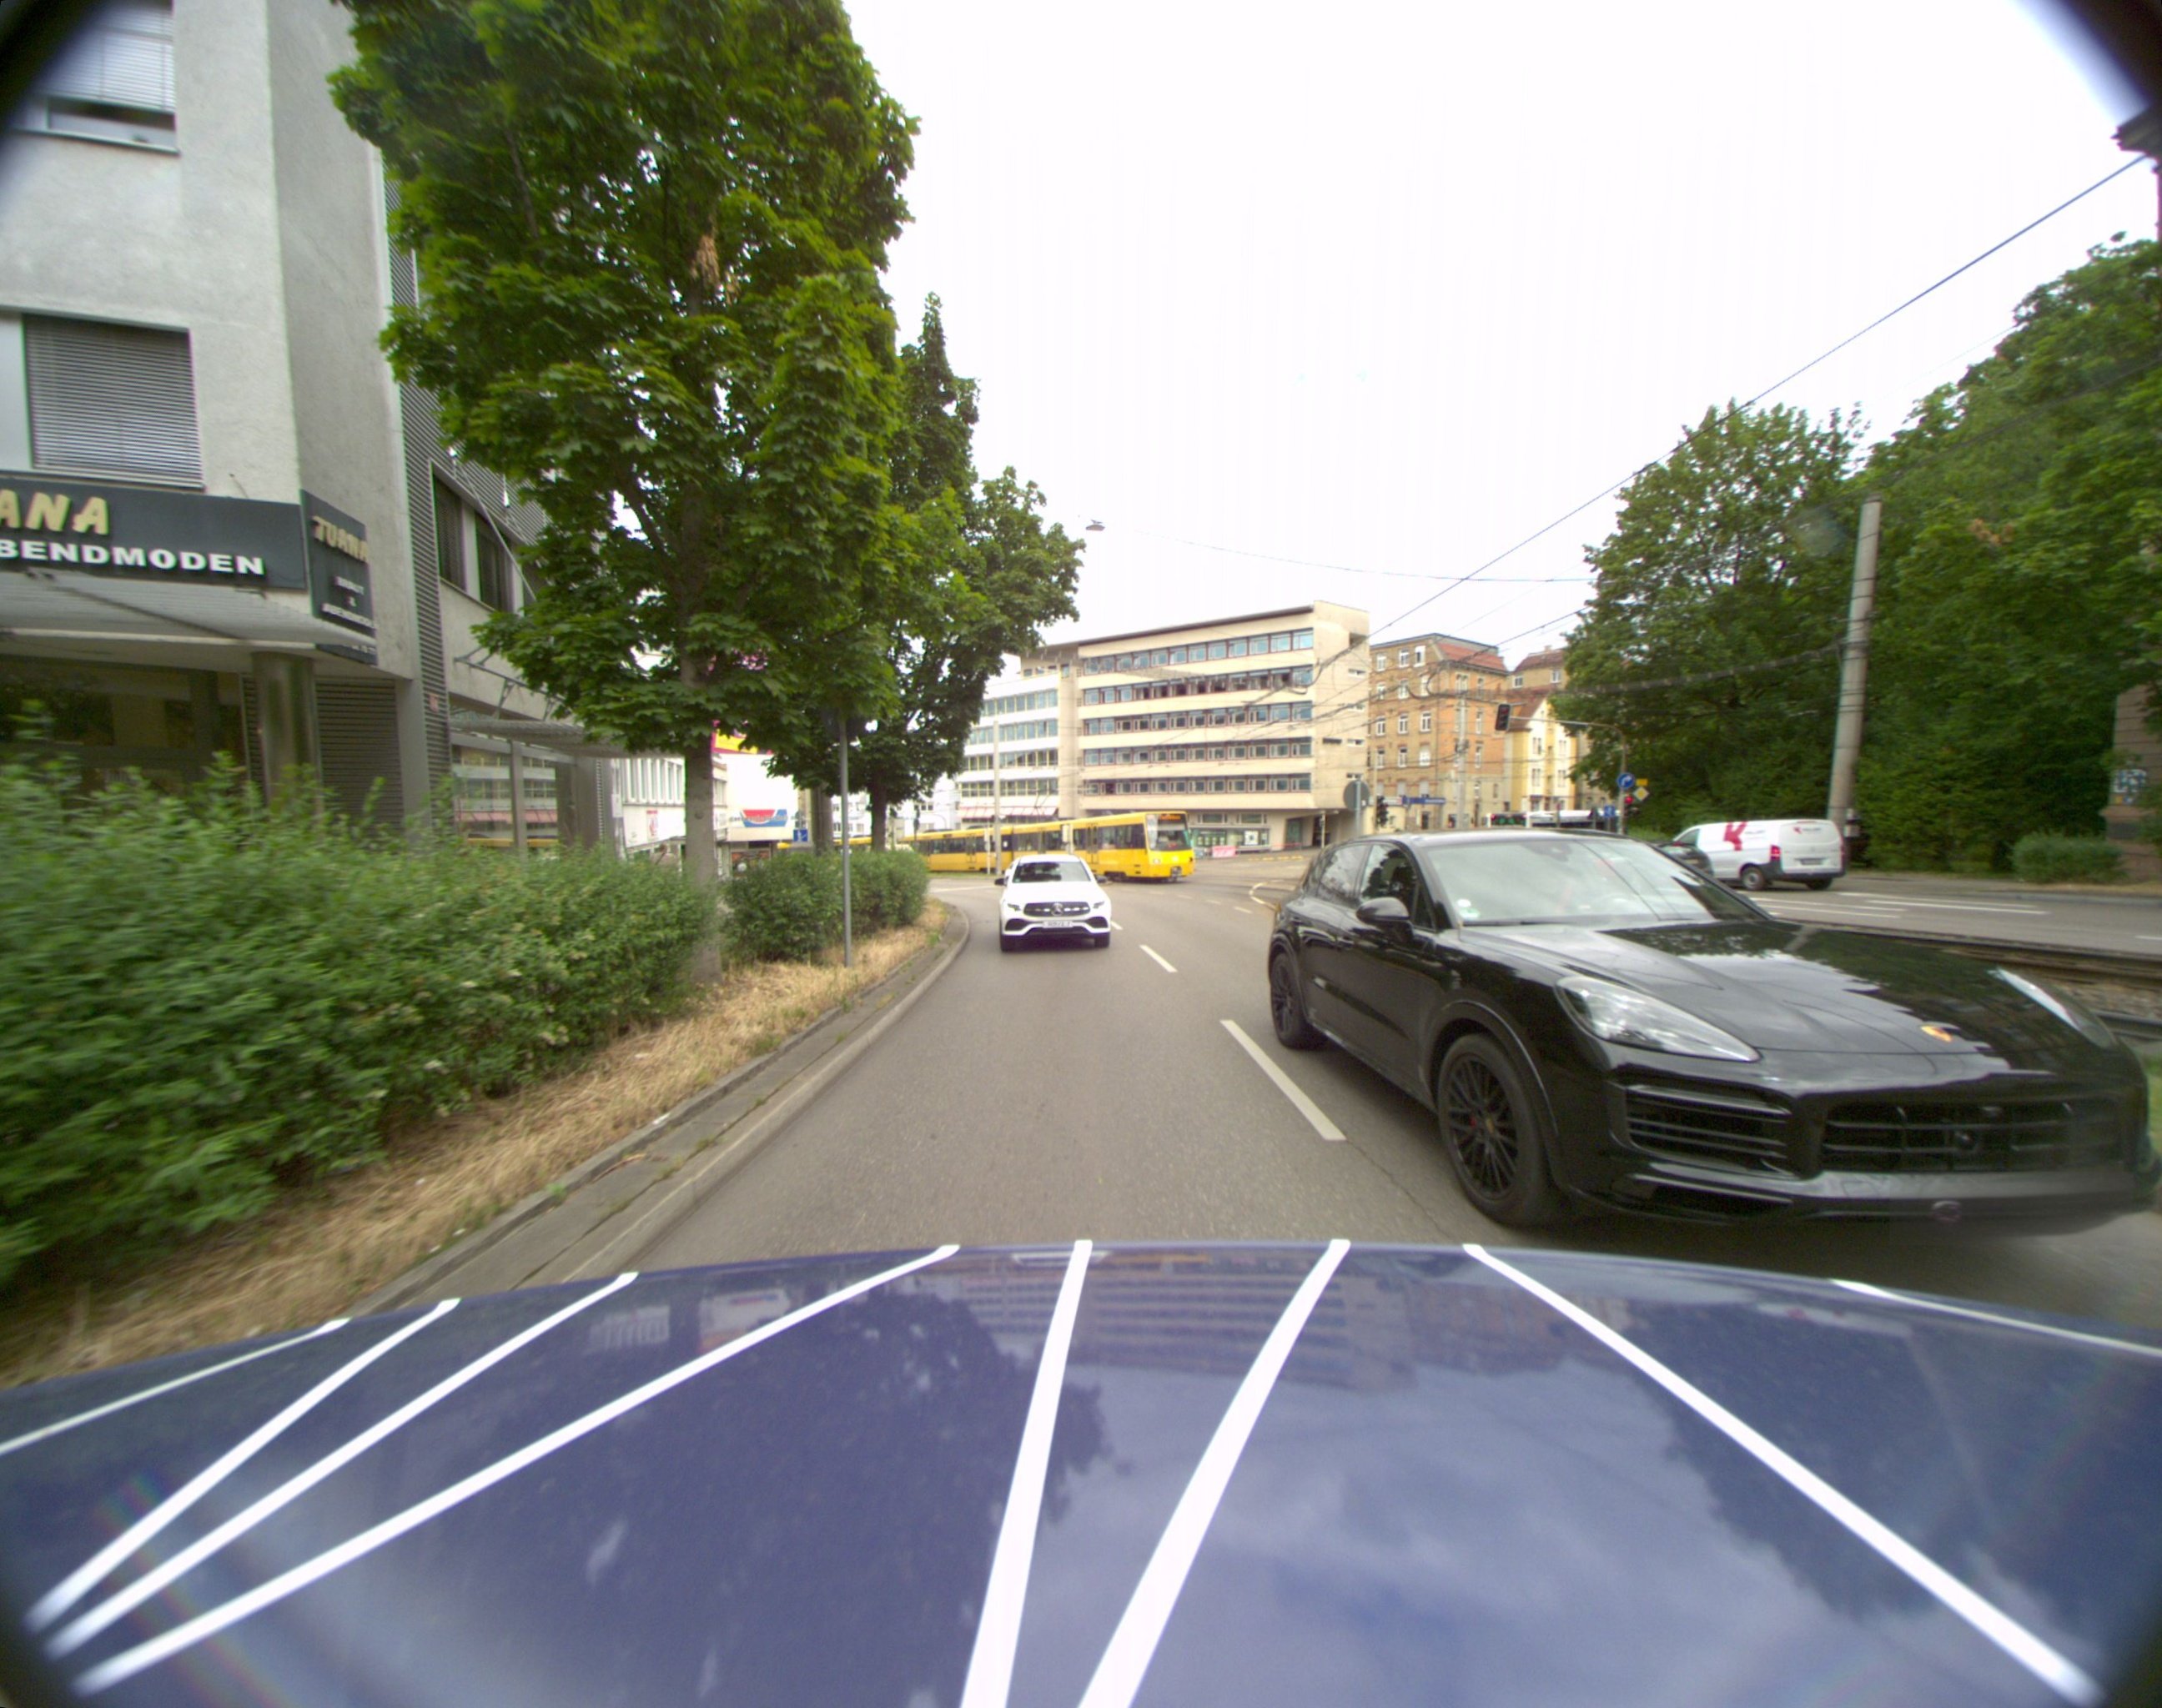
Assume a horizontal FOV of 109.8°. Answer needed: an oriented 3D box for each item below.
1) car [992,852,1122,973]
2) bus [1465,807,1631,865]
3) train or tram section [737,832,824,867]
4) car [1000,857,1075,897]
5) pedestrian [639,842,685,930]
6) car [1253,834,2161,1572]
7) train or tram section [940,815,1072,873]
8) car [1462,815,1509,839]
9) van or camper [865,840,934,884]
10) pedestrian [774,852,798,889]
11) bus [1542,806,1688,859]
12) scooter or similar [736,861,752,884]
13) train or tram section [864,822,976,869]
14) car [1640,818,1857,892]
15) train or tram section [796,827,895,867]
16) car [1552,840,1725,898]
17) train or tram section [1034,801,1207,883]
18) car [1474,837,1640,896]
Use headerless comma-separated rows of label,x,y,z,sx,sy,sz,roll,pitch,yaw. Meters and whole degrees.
car,-0.558,0.901,14.182,1.935,1.623,4.769,-3,2,-5
bus,28.631,-1.154,46.313,11.564,3.012,3.382,-3,1,-30
train or tram section,-34.301,-0.441,86.200,14.189,3.423,2.895,-1,4,42
car,-2.028,0.973,33.933,1.900,1.467,4.522,-4,2,-22
pedestrian,-8.807,0.657,16.004,0.676,1.784,0.607,-3,1,-19
car,2.574,0.770,4.189,2.033,1.675,4.779,-1,2,-1
train or tram section,-5.831,-0.687,54.854,2.895,3.643,14.192,-4,2,-34
car,38.321,-2.522,71.963,4.007,2.000,1.997,-1,-6,-34
van or camper,-11.982,0.449,49.710,2.213,2.544,6.357,-5,3,-33
pedestrian,-15.109,0.817,38.901,0.836,1.800,1.149,-6,2,-14
bus,35.363,-1.473,50.121,11.378,3.026,3.316,-3,1,-30
scooter or similar,-23.102,1.263,52.026,0.671,1.467,1.175,-4,2,-37
train or tram section,-14.302,-0.676,66.074,2.895,3.644,14.190,-5,3,-40
car,18.916,0.005,21.936,1.998,1.839,4.993,-2,1,2
train or tram section,-23.981,-0.702,76.488,14.188,3.540,2.937,0,5,44
car,15.946,0.354,22.055,1.747,1.419,4.404,-2,1,0
train or tram section,1.500,-0.623,41.787,2.894,3.643,14.444,-4,2,-25
car,13.695,0.279,22.259,1.999,1.510,4.404,0,2,-1
